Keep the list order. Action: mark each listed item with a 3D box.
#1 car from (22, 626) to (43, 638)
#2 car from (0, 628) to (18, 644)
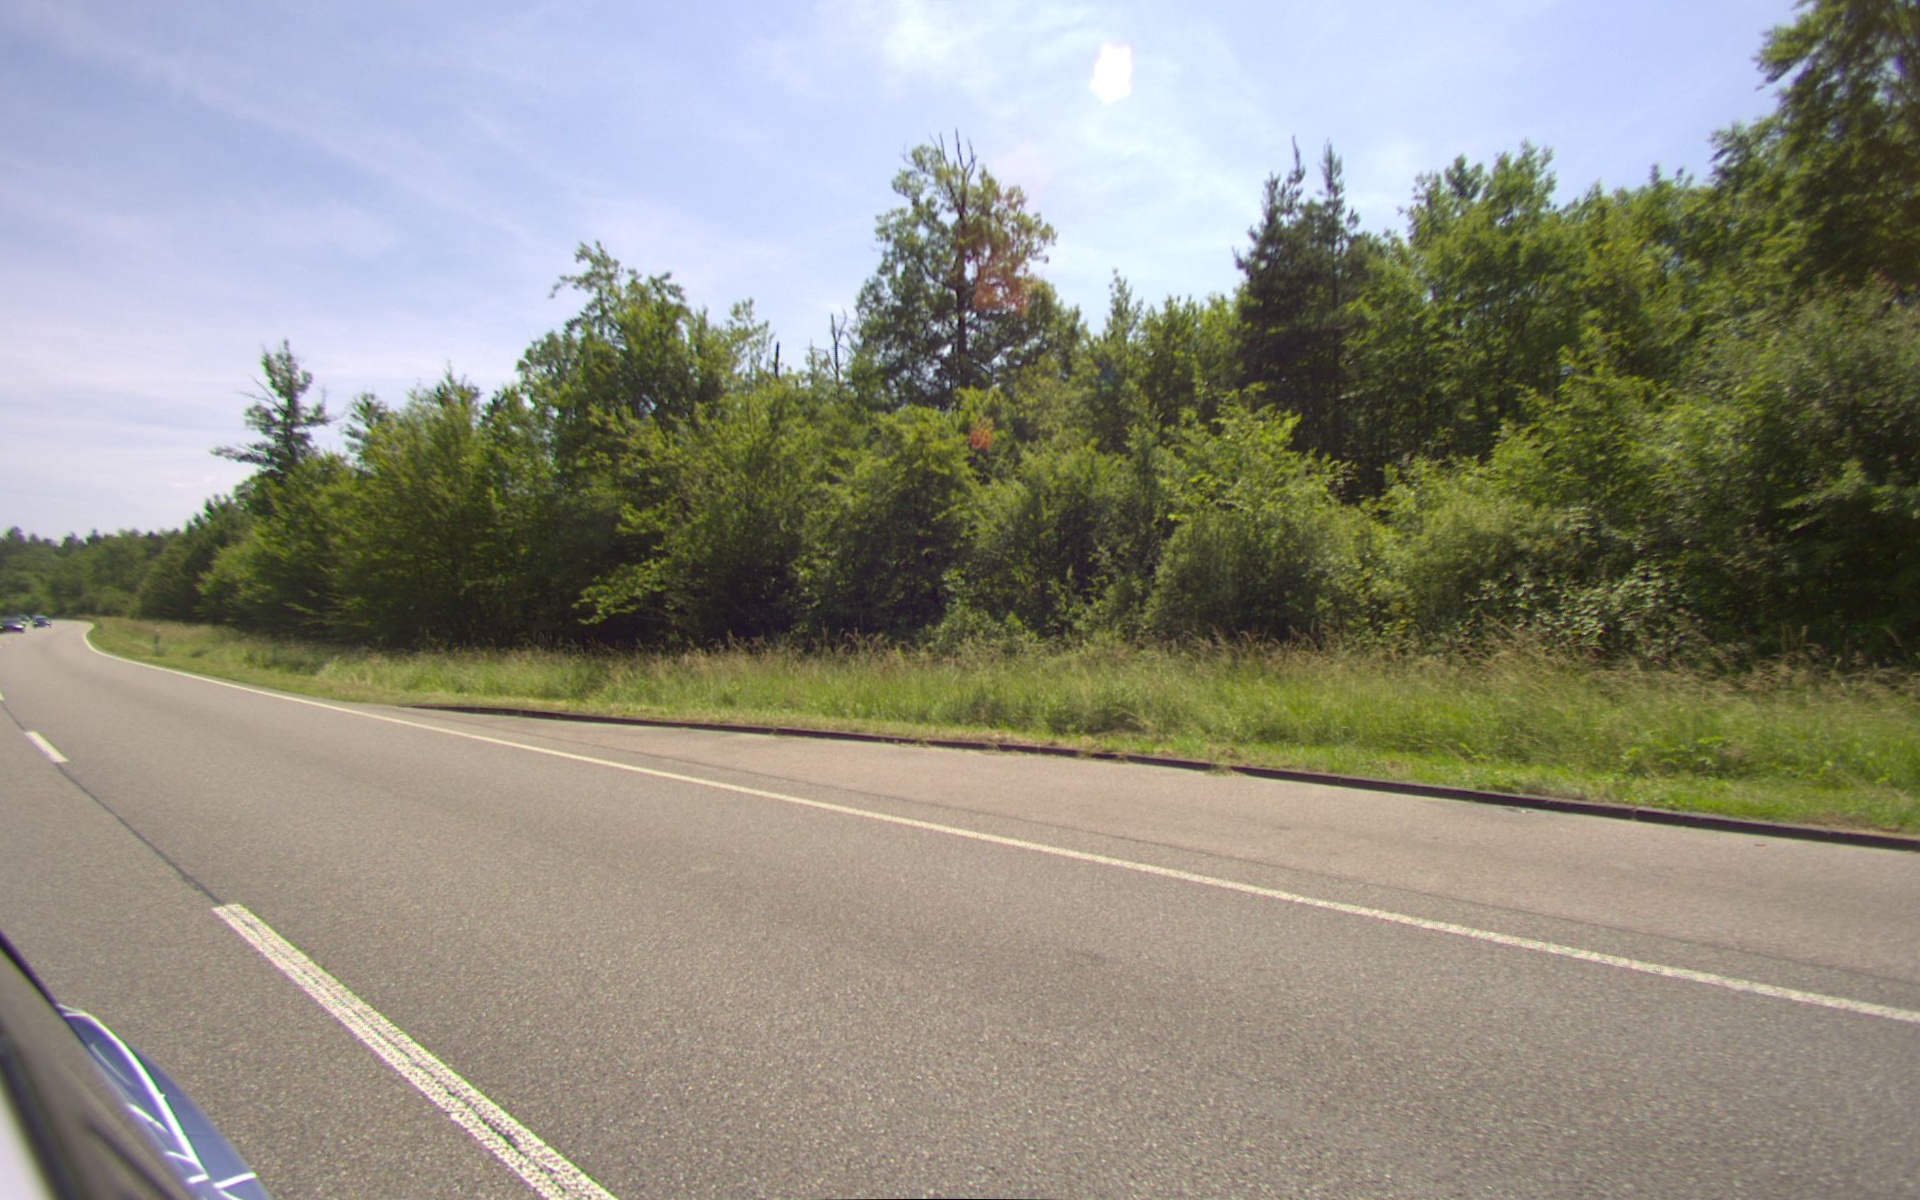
[{"bbox_3d":[-122.381,4.220,133.619,1.749,1.474,4.008,0,-1,-38],"label":"car"},{"bbox_3d":[-91.970,3.484,97.494,1.750,1.474,3.952,0,-1,-43],"label":"car"}]
